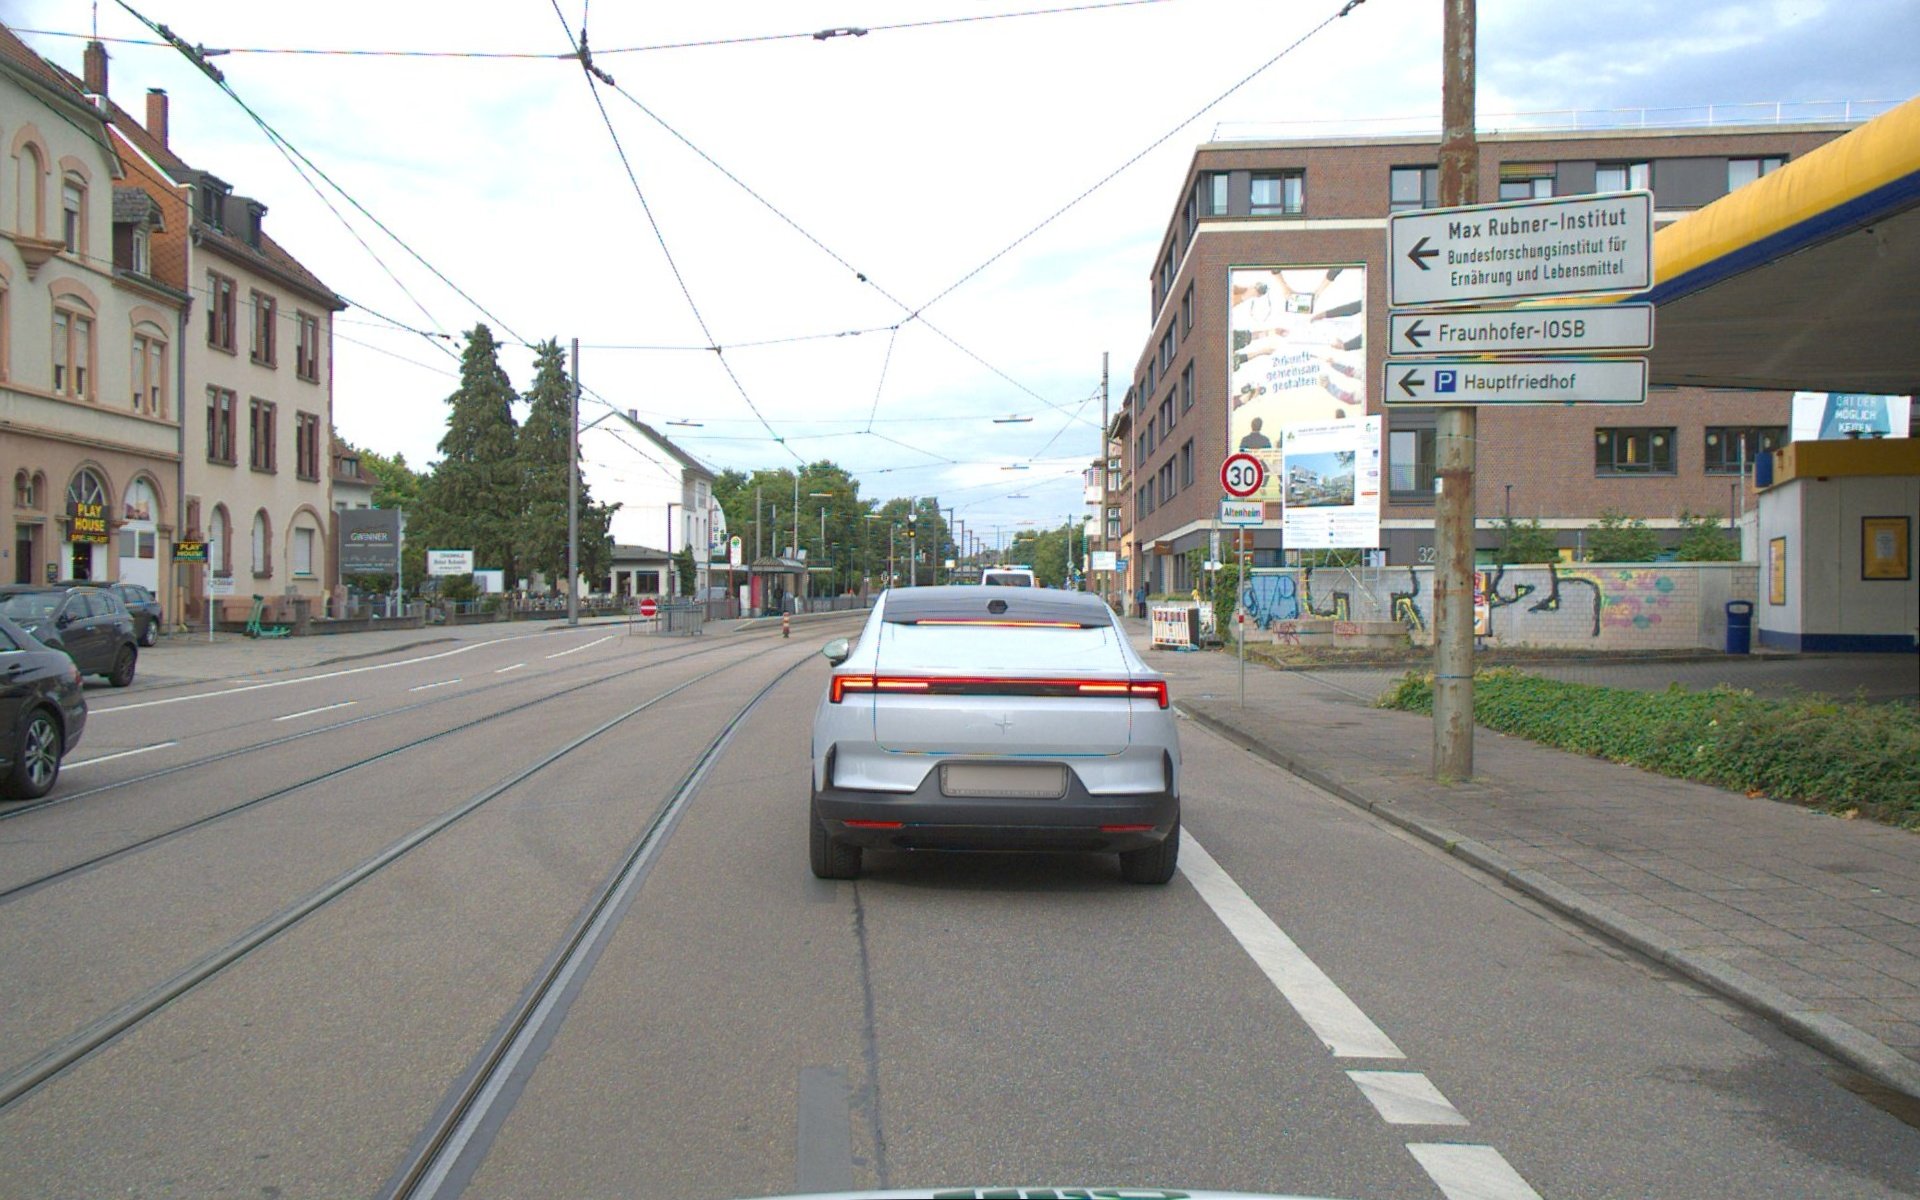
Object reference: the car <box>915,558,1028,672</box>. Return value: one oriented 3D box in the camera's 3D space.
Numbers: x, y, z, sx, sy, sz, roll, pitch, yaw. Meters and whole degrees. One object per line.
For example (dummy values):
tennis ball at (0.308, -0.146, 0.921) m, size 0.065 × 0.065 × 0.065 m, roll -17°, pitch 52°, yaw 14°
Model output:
car at (0.159, 0.293, 32.364) m, size 1.954 × 2.049 × 3.998 m, roll 1°, pitch -1°, yaw -3°

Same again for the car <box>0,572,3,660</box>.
car at (-14.278, 0.525, 20.549) m, size 1.952 × 1.920 × 4.996 m, roll 1°, pitch 0°, yaw -2°

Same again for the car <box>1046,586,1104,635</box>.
car at (4.525, 0.410, 65.346) m, size 1.837 × 1.855 × 4.094 m, roll 1°, pitch 0°, yaw -2°

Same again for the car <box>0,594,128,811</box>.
car at (-7.365, 0.699, 10.539) m, size 1.908 × 1.452 × 4.882 m, roll 0°, pitch 0°, yaw -4°

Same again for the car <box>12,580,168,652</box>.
car at (-19.773, 0.352, 37.766) m, size 1.718 × 1.527 × 3.744 m, roll 1°, pitch 0°, yaw -3°

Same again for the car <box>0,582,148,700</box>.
car at (-14.909, 0.600, 26.555) m, size 1.808 × 1.748 × 4.190 m, roll 1°, pitch 0°, yaw -3°

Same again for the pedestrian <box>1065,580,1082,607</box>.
pedestrian at (8.684, -0.465, 126.980) m, size 1.194 × 2.049 × 0.933 m, roll -1°, pitch 0°, yaw -1°

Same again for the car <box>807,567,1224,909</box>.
car at (0.099, 0.648, 9.868) m, size 1.943 × 1.577 × 4.179 m, roll 1°, pitch 0°, yaw -5°

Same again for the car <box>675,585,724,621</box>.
car at (-13.457, 0.179, 85.705) m, size 1.707 × 1.771 × 4.001 m, roll 1°, pitch 0°, yaw 3°

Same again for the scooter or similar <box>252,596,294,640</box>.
scooter or similar at (-19.365, 0.514, 46.617) m, size 1.041 × 1.209 × 0.314 m, roll 2°, pitch -1°, yaw -37°

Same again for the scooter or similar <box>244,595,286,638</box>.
scooter or similar at (-19.781, 0.463, 47.078) m, size 1.041 × 1.209 × 0.314 m, roll 2°, pitch -1°, yaw -37°

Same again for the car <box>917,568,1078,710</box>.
car at (0.440, 0.519, 23.294) m, size 1.930 × 1.787 × 3.835 m, roll 1°, pitch 0°, yaw -4°

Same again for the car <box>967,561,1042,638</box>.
car at (1.458, -0.005, 56.406) m, size 2.172 × 2.466 × 4.948 m, roll 1°, pitch 0°, yaw -3°

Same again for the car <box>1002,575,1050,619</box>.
car at (3.411, -0.115, 86.279) m, size 2.096 × 2.183 × 4.741 m, roll 1°, pitch 0°, yaw -2°
